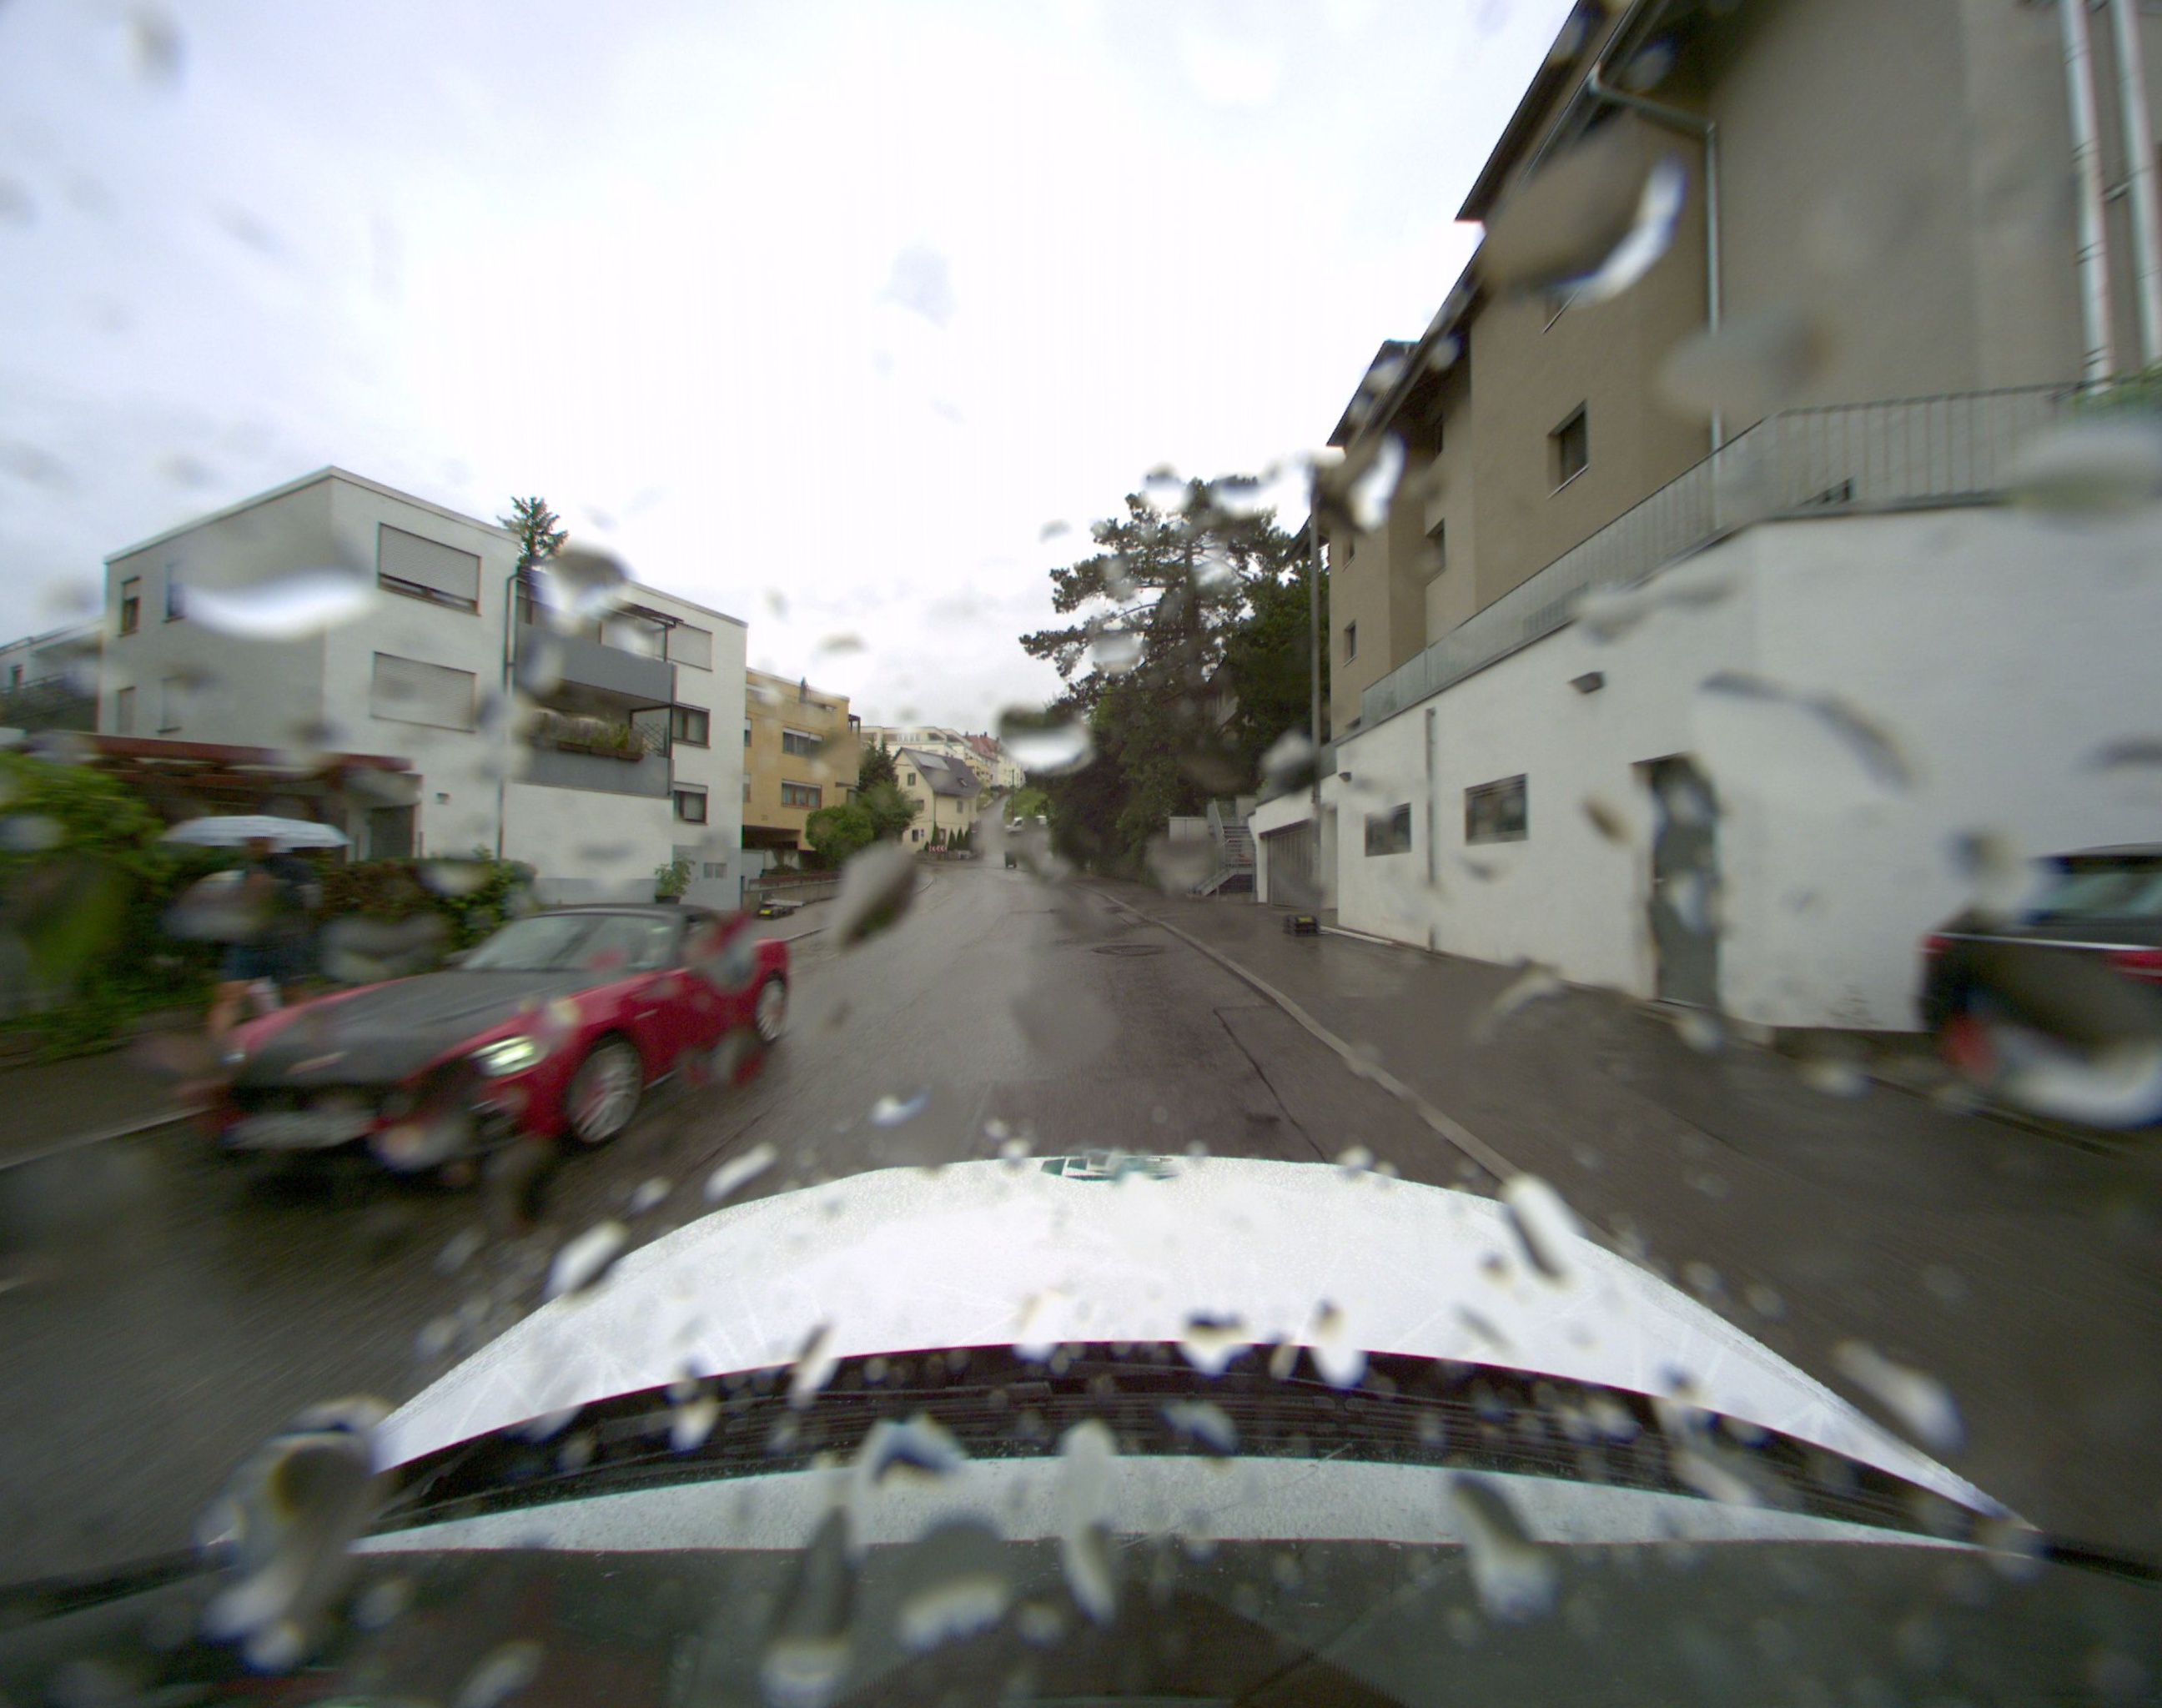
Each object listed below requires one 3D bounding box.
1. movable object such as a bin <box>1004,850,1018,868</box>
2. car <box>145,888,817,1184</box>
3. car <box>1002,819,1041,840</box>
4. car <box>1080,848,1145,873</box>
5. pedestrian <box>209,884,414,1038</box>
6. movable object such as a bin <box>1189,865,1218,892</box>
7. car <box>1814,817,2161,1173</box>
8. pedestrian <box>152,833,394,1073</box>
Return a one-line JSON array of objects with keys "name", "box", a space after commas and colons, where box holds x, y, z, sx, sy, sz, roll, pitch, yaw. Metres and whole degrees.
[{"name": "movable object such as a bin", "box": [-5.849, 0.402, 68.101, 1.080, 1.442, 1.455, 1, 0, -5]}, {"name": "car", "box": [-3.351, 0.902, 5.671, 1.673, 1.146, 4.000, -1, 0, 1]}, {"name": "car", "box": [-7.999, -3.332, 109.330, 4.946, 2.569, 1.897, -2, 1, -12]}, {"name": "car", "box": [2.139, 0.446, 55.621, 4.141, 1.476, 1.899, -2, 1, -8]}, {"name": "pedestrian", "box": [-6.546, 0.869, 6.995, 0.753, 1.180, 1.040, -1, 0, 1]}, {"name": "movable object such as a bin", "box": [4.401, 0.883, 29.296, 0.873, 0.941, 0.745, 0, 0, -6]}, {"name": "car", "box": [6.527, 0.551, 3.941, 3.961, 1.457, 2.006, -1, 0, 11]}, {"name": "pedestrian", "box": [-5.997, 0.682, 6.120, 0.753, 1.644, 1.040, -1, 0, 1]}]
